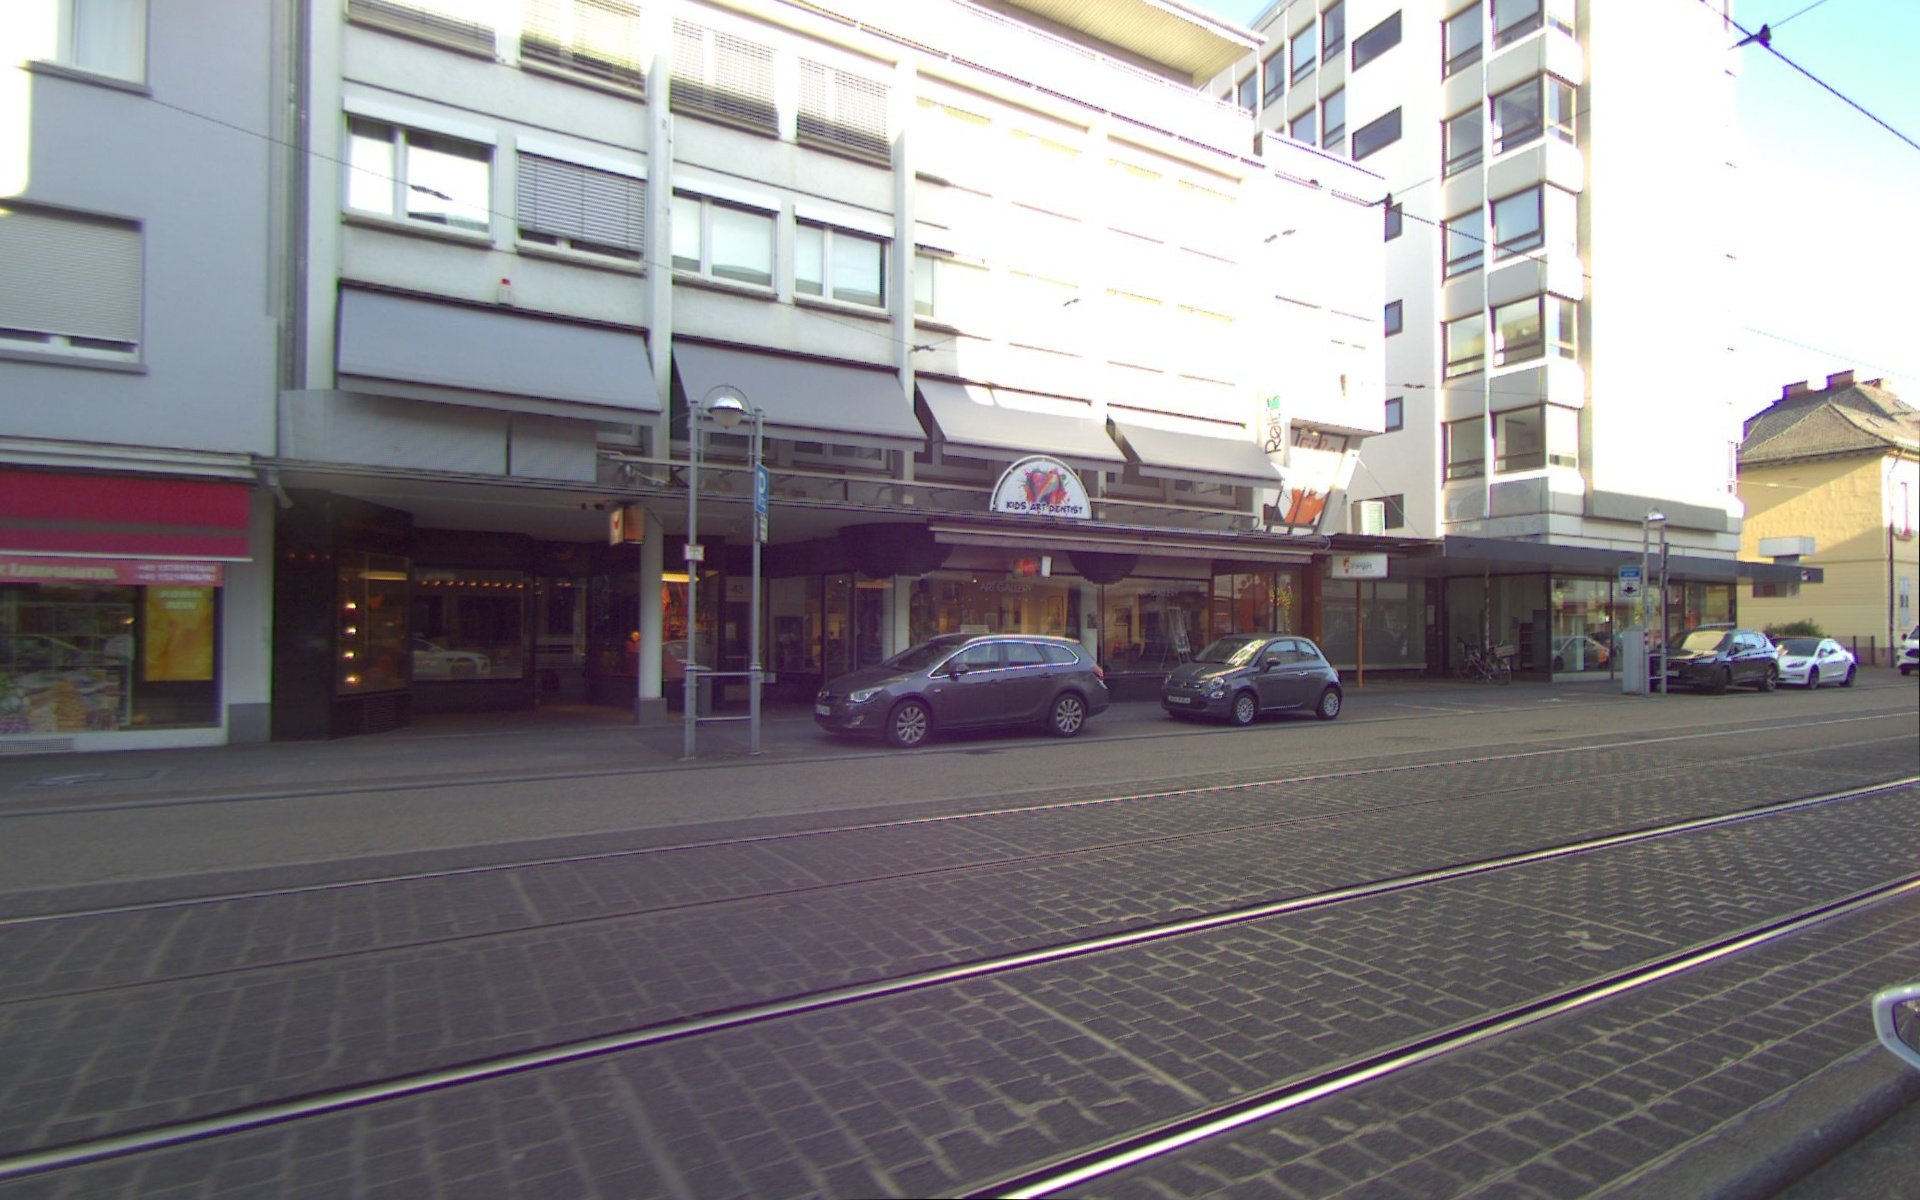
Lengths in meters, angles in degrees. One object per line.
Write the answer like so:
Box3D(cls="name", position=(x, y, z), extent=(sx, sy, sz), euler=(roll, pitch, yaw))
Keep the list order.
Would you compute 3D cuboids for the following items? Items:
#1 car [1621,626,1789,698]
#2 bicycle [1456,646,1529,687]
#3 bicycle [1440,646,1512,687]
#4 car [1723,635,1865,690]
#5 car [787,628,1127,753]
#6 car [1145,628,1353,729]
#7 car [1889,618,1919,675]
Box3D(cls="car", position=(19.870, 1.612, 26.759), extent=(4.601, 1.701, 1.969), euler=(2, 0, -31))
Box3D(cls="bicycle", position=(15.126, 1.874, 28.586), extent=(0.418, 1.012, 1.927), euler=(1, 0, -29))
Box3D(cls="bicycle", position=(14.649, 1.871, 28.584), extent=(0.376, 1.012, 1.927), euler=(1, 0, -29))
Box3D(cls="car", position=(24.693, 1.816, 29.698), extent=(4.605, 1.440, 1.878), euler=(2, 0, -32))
Box3D(cls="car", position=(0.030, 1.236, 14.817), extent=(4.795, 1.544, 1.729), euler=(2, 0, -30))
Box3D(cls="car", position=(5.118, 1.315, 17.699), extent=(3.551, 1.544, 1.591), euler=(2, 0, -33))
Box3D(cls="car", position=(35.982, 1.711, 36.487), extent=(5.039, 2.001, 1.983), euler=(2, 0, -31))
